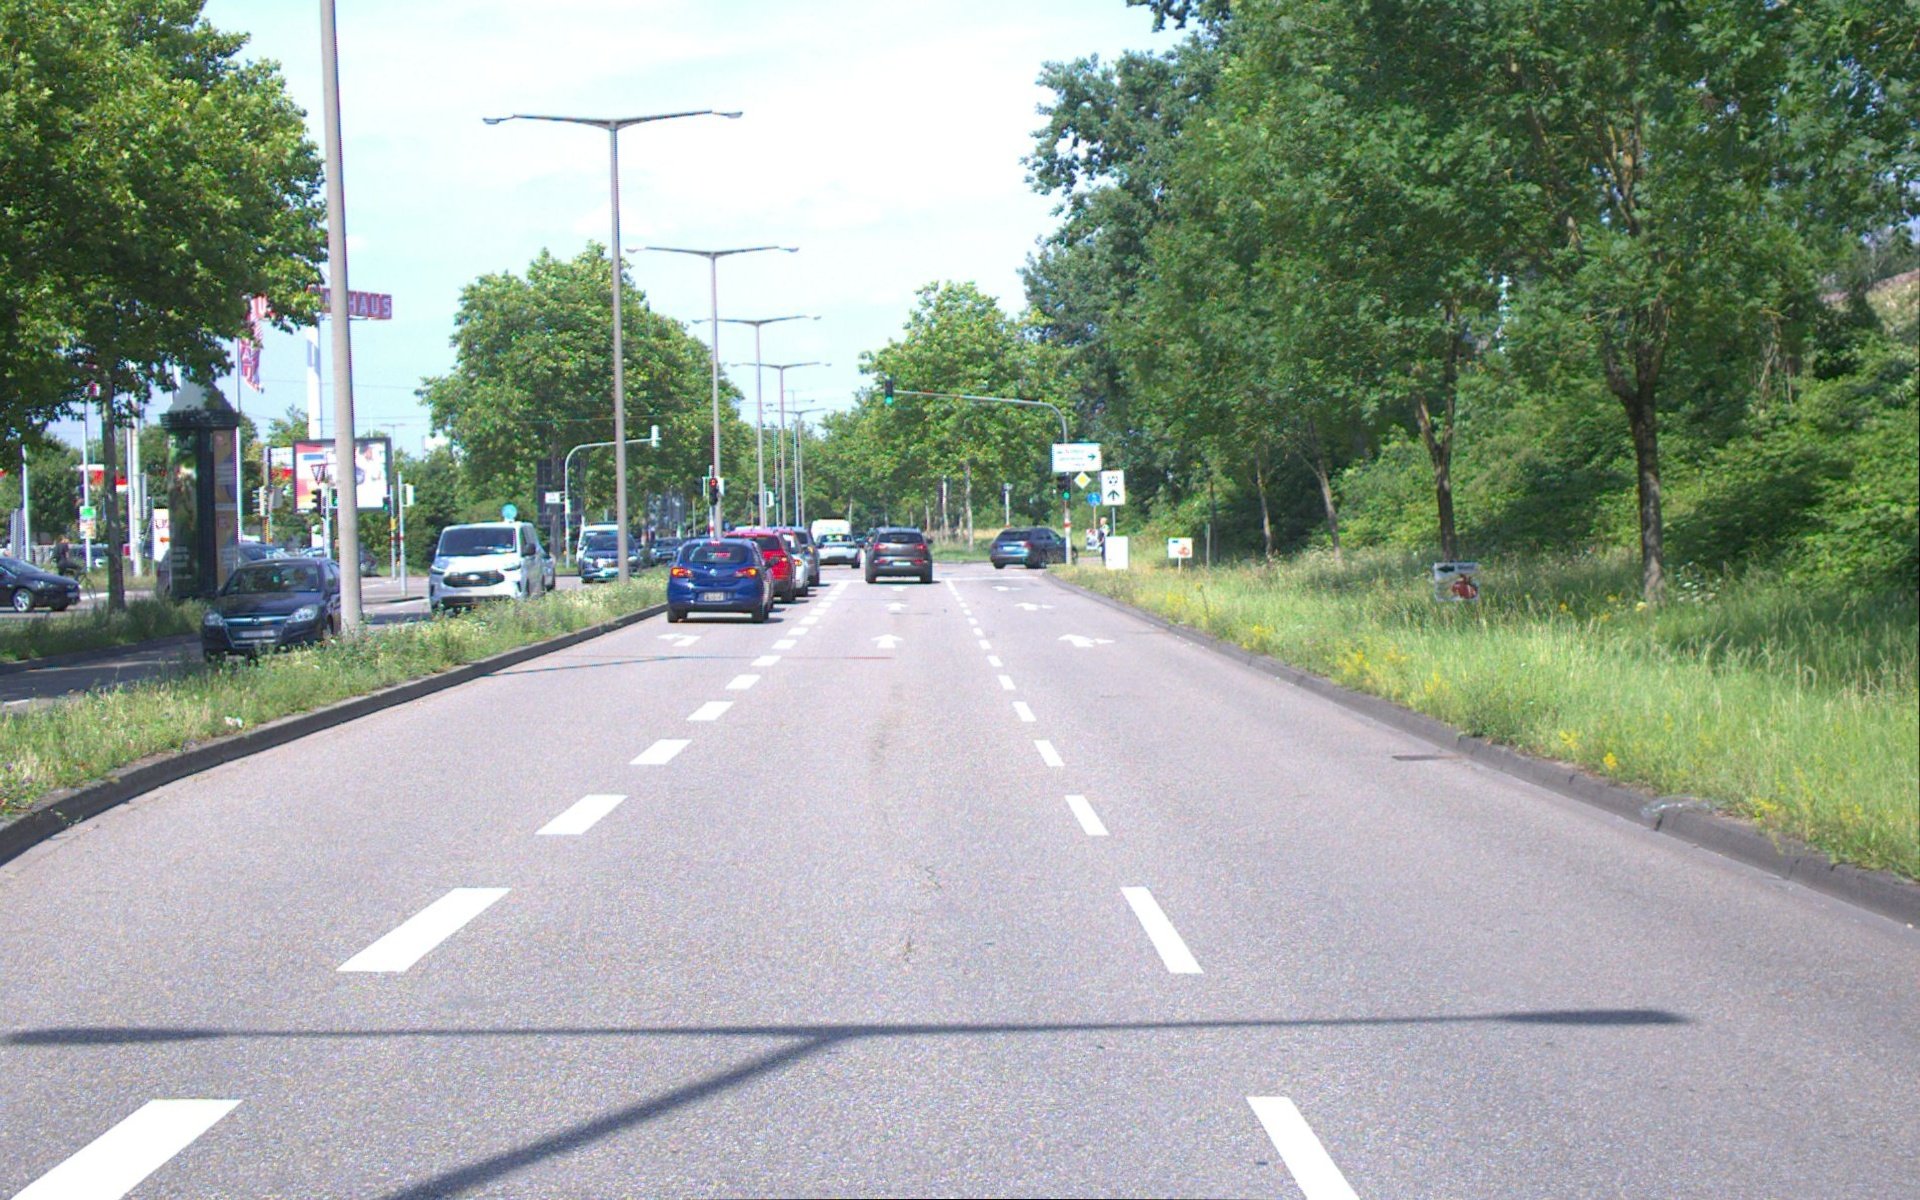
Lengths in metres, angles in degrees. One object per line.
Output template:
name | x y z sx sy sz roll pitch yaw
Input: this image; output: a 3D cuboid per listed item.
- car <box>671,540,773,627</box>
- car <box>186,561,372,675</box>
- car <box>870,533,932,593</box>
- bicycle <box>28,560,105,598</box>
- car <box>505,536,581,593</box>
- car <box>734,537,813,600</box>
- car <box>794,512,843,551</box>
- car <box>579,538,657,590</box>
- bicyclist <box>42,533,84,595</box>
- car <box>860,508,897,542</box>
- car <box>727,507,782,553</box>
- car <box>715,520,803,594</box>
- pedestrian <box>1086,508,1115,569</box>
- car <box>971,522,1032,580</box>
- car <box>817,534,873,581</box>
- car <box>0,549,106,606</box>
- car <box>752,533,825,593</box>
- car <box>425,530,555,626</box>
car | -4.228 -0.324 61.441 1.626 1.478 4.049 1 1 -1
car | -9.503 0.215 48.254 1.768 1.464 4.284 -2 1 -1
car | -1.689 -1.076 99.578 1.736 1.530 4.001 -1 3 -1
bicycle | -25.439 -0.594 97.915 1.948 0.979 0.789 -3 4 -36
car | -13.032 -1.120 107.730 1.977 1.687 4.000 -2 1 -2
car | -4.451 -0.775 82.605 1.766 1.474 4.136 0 1 -1
car | -6.345 -3.079 154.525 1.993 1.702 4.263 -1 1 0
car | -10.727 -1.146 107.969 1.993 1.525 4.682 -2 1 -1
bicyclist | -25.517 -1.040 97.830 0.897 1.709 0.783 -3 4 -36
car | -4.977 -4.552 208.489 1.993 2.007 4.001 -1 1 -4
car | -8.579 -2.932 143.904 1.993 1.853 4.000 -1 1 1
car | -4.433 -0.973 76.307 1.782 1.587 4.594 0 1 -1
pedestrian | 4.481 -1.964 109.554 0.837 1.926 0.772 -1 3 -4
car | 1.446 -1.731 120.511 2.018 1.831 4.001 -1 3 -1
car | -4.424 -1.642 132.806 1.993 1.738 4.265 -1 1 -1
car | -24.186 -0.575 88.625 3.992 1.383 1.763 0 2 26
car | -4.750 -1.050 95.691 1.881 1.612 4.213 -1 1 -1
car | -9.814 -0.498 72.171 2.116 1.877 5.420 -2 1 -2
